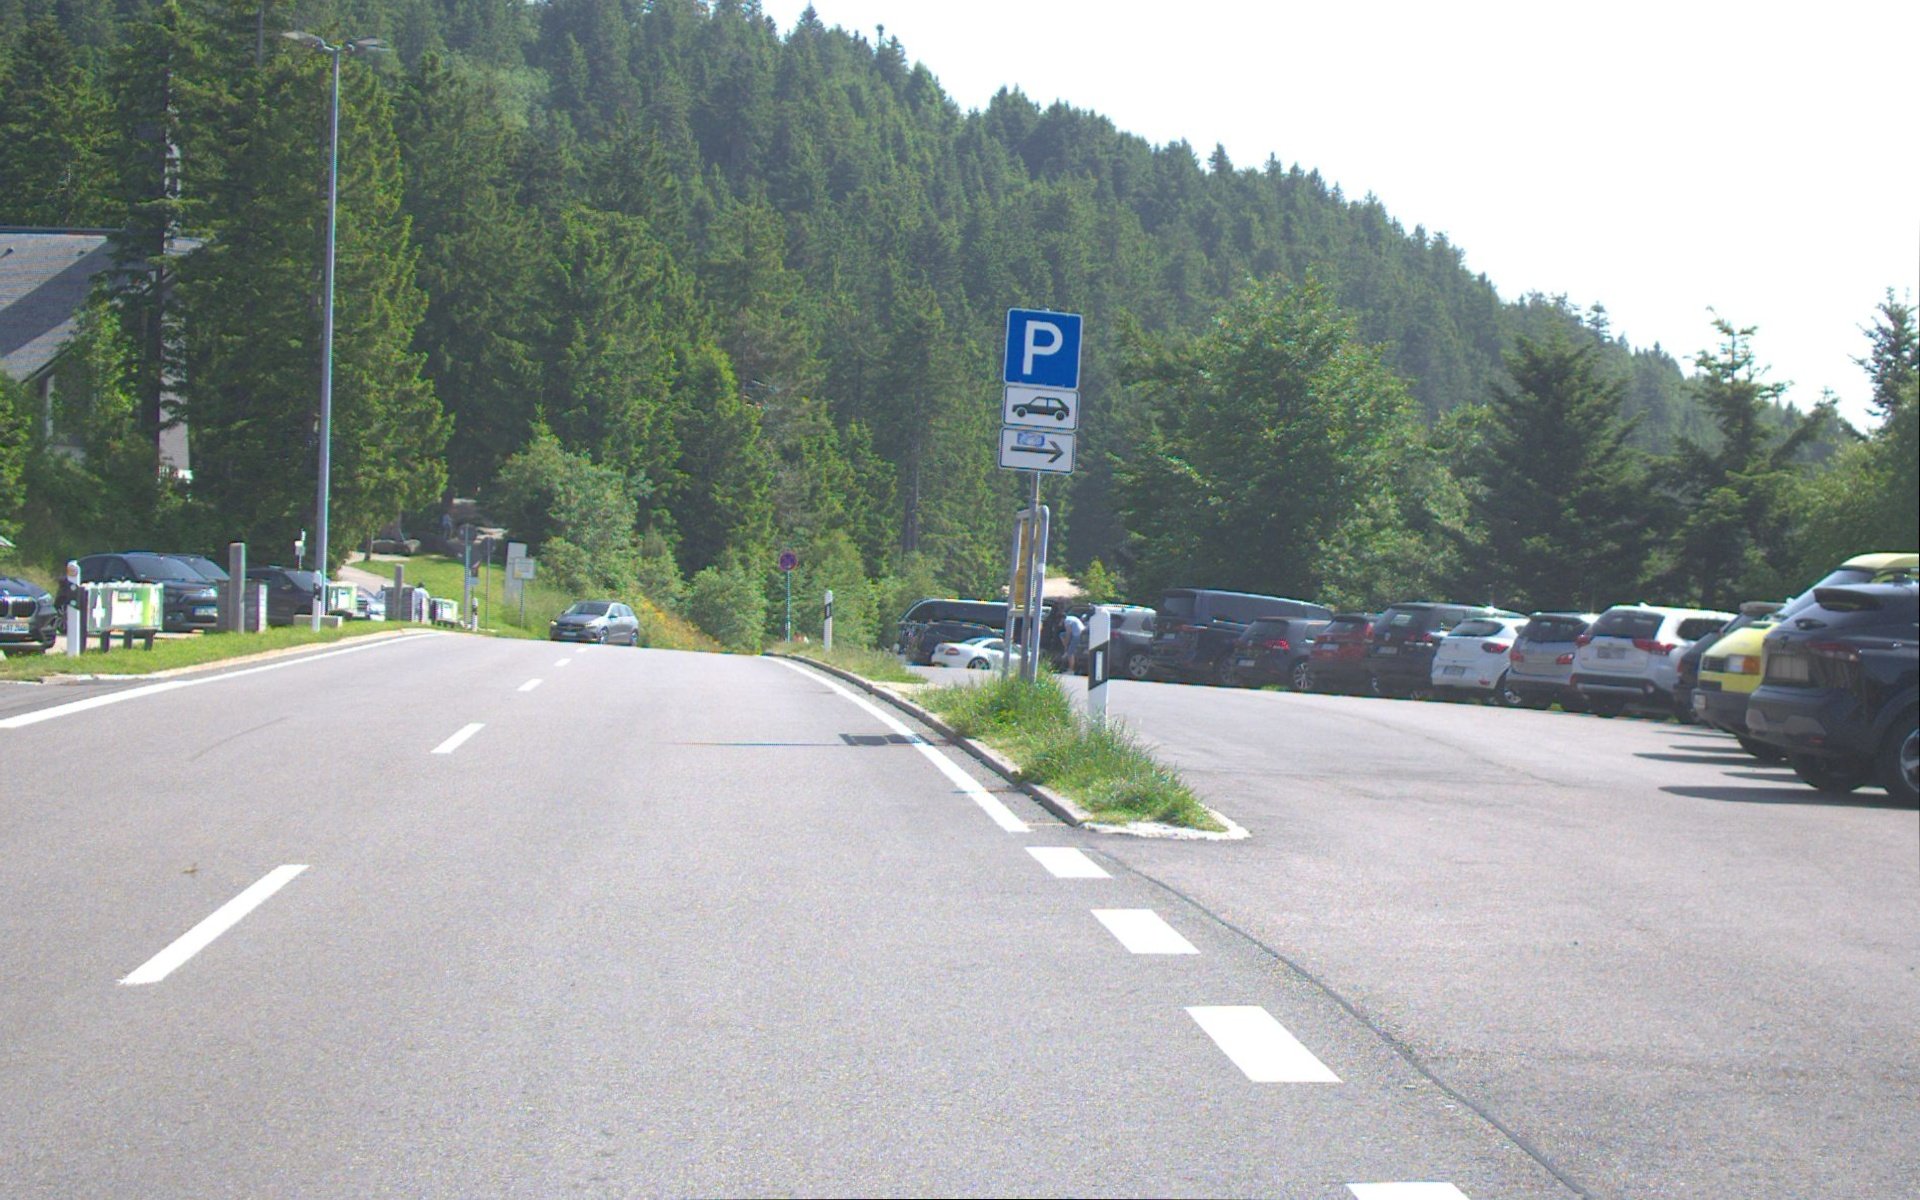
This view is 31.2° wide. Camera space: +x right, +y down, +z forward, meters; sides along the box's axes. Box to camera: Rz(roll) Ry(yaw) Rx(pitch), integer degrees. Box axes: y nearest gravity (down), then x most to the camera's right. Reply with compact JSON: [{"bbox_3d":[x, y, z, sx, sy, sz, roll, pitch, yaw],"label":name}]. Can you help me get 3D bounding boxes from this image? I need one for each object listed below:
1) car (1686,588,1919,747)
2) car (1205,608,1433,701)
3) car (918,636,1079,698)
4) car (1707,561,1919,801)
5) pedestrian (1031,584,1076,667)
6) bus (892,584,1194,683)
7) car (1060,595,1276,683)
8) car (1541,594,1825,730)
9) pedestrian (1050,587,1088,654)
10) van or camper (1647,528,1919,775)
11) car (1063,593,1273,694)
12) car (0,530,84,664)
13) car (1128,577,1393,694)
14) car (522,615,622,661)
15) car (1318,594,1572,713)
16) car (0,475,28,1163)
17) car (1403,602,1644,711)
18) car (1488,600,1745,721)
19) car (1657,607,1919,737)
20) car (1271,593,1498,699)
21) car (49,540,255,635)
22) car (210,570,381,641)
[{"bbox_3d":[10.965,0.875,40.757,4.170,1.644,1.892,5,-1,-24],"label":"car"},{"bbox_3d":[6.863,1.041,65.692,3.986,1.410,1.745,6,-1,-31],"label":"car"},{"bbox_3d":[1.164,2.031,103.839,4.452,1.294,1.583,8,-1,-20],"label":"car"},{"bbox_3d":[7.761,0.657,25.119,3.986,1.608,1.917,4,0,-9],"label":"car"},{"bbox_3d":[2.045,0.557,75.312,0.580,1.755,0.632,4,-2,35],"label":"pedestrian"},{"bbox_3d":[3.661,1.447,152.308,12.868,3.566,2.980,3,1,13],"label":"bus"},{"bbox_3d":[4.340,0.817,71.681,3.986,1.438,1.840,5,-1,-25],"label":"car"},{"bbox_3d":[10.744,0.934,50.943,4.214,1.689,1.863,5,0,-41],"label":"car"},{"bbox_3d":[2.331,0.431,73.288,0.773,1.398,0.669,2,1,2],"label":"pedestrian"},{"bbox_3d":[9.054,0.577,31.220,5.090,2.006,1.882,5,1,-1],"label":"van or camper"},{"bbox_3d":[4.532,0.948,74.862,3.986,1.656,2.000,8,-3,-31],"label":"car"},{"bbox_3d":[-12.468,-0.092,41.346,4.190,1.535,1.803,2,1,44],"label":"car"},{"bbox_3d":[5.998,0.707,68.534,4.756,1.873,1.967,5,-1,-23],"label":"car"},{"bbox_3d":[-12.782,1.240,113.426,1.582,1.424,3.366,2,1,28],"label":"car"},{"bbox_3d":[8.500,0.947,60.072,4.261,1.689,1.990,6,-1,-41],"label":"car"},{"bbox_3d":[-3.878,0.465,9.628,1.979,1.611,4.151,0,1,-22],"label":"car"},{"bbox_3d":[9.475,0.962,57.682,3.988,1.471,1.767,6,-1,-41],"label":"car"},{"bbox_3d":[10.411,0.969,54.368,3.988,1.543,1.820,6,-1,-41],"label":"car"},{"bbox_3d":[11.768,1.027,47.125,4.038,1.456,1.895,6,-1,-32],"label":"car"},{"bbox_3d":[7.845,0.852,63.348,3.988,1.584,1.863,6,-1,-41],"label":"car"},{"bbox_3d":[-14.401,-0.241,61.171,1.778,1.546,3.998,1,1,-43],"label":"car"},{"bbox_3d":[-16.860,0.146,87.167,4.206,1.628,1.785,2,-1,36],"label":"car"}]
